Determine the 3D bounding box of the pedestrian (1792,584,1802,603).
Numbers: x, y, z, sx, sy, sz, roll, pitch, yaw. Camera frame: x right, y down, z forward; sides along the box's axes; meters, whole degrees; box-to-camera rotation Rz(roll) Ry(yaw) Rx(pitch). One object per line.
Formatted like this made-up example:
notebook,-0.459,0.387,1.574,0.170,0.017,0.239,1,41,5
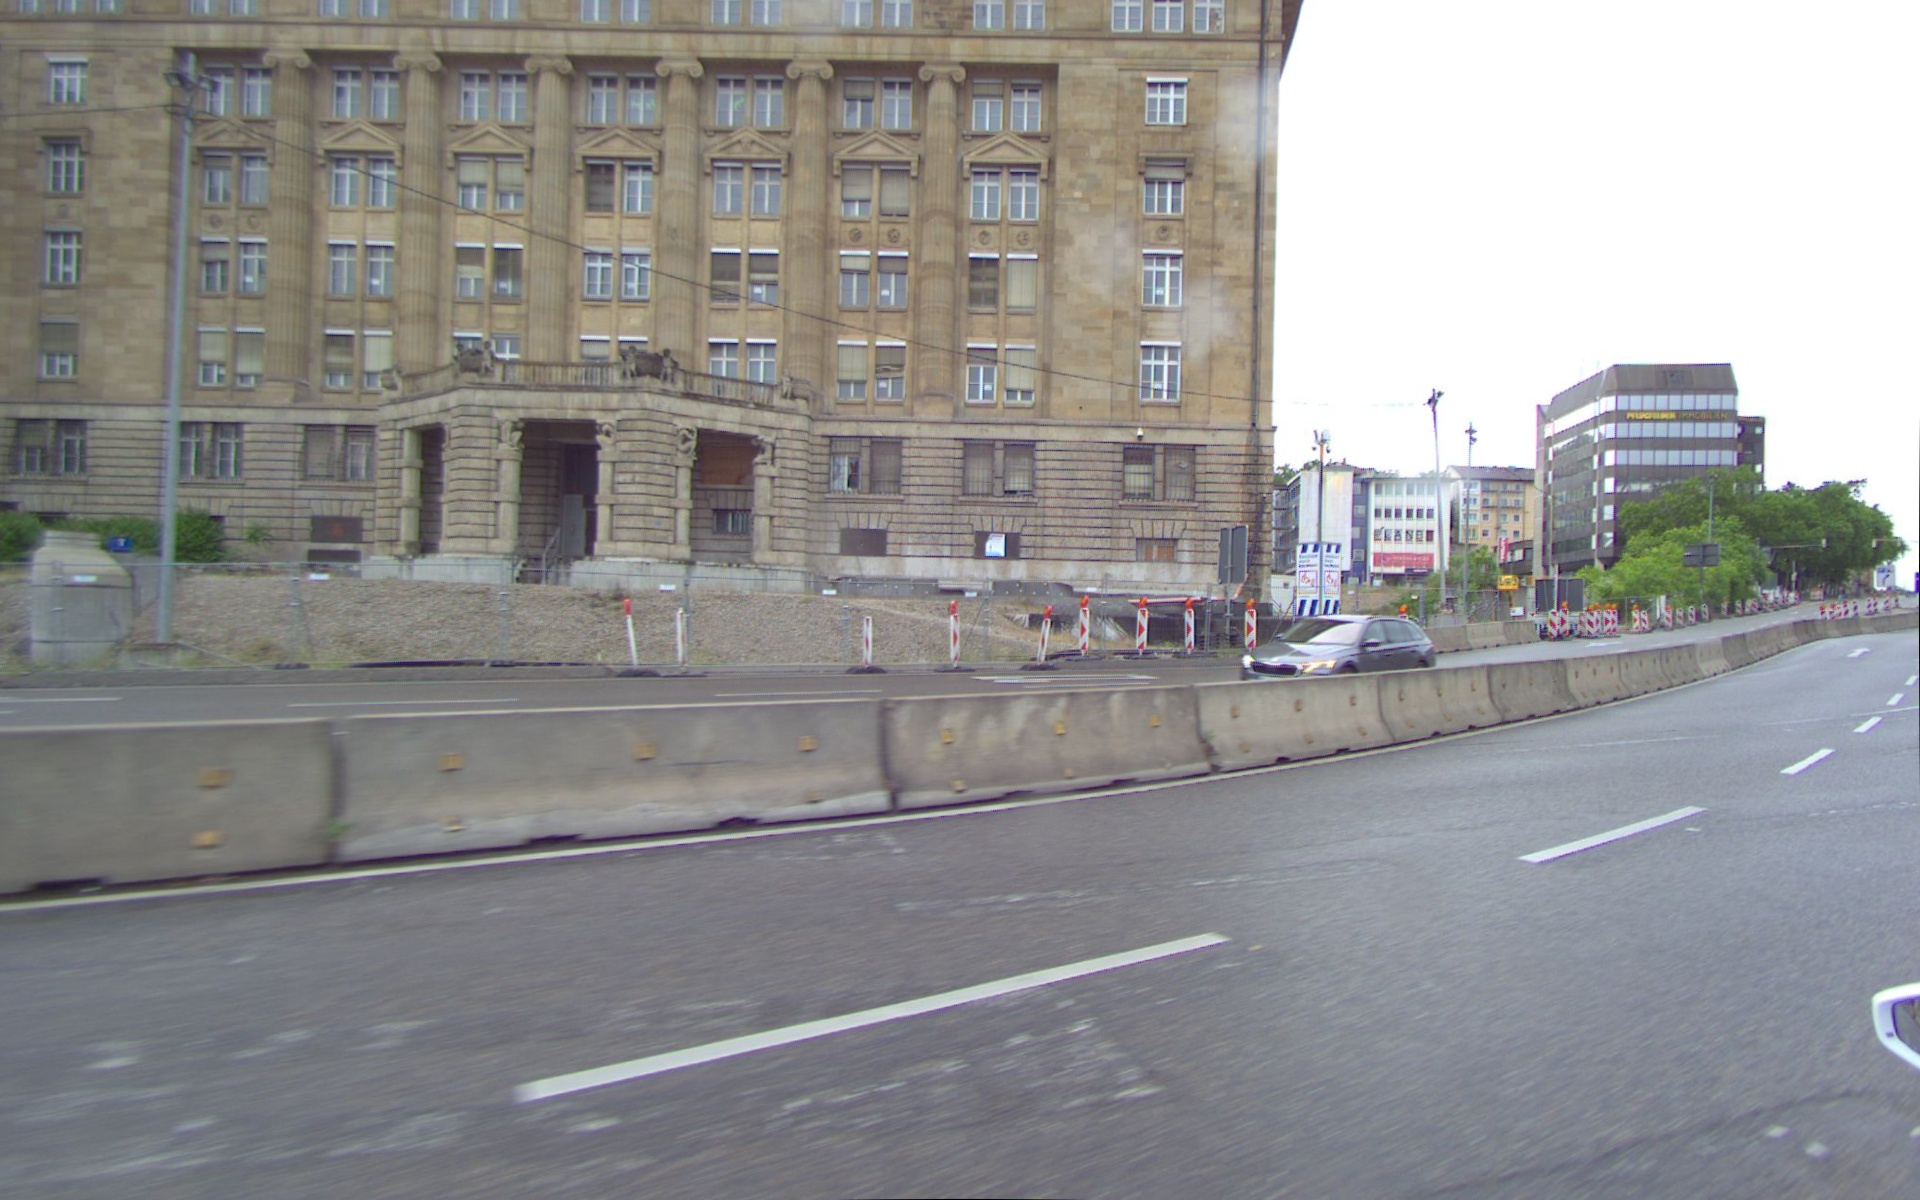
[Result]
pedestrian,83.611,-0.659,100.294,0.770,1.927,0.666,2,-1,-42

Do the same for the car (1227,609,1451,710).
car,6.718,0.983,17.615,4.350,1.541,1.752,2,-1,-40

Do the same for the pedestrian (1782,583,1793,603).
pedestrian,83.121,-0.679,100.887,0.736,1.948,0.754,2,-1,-42
